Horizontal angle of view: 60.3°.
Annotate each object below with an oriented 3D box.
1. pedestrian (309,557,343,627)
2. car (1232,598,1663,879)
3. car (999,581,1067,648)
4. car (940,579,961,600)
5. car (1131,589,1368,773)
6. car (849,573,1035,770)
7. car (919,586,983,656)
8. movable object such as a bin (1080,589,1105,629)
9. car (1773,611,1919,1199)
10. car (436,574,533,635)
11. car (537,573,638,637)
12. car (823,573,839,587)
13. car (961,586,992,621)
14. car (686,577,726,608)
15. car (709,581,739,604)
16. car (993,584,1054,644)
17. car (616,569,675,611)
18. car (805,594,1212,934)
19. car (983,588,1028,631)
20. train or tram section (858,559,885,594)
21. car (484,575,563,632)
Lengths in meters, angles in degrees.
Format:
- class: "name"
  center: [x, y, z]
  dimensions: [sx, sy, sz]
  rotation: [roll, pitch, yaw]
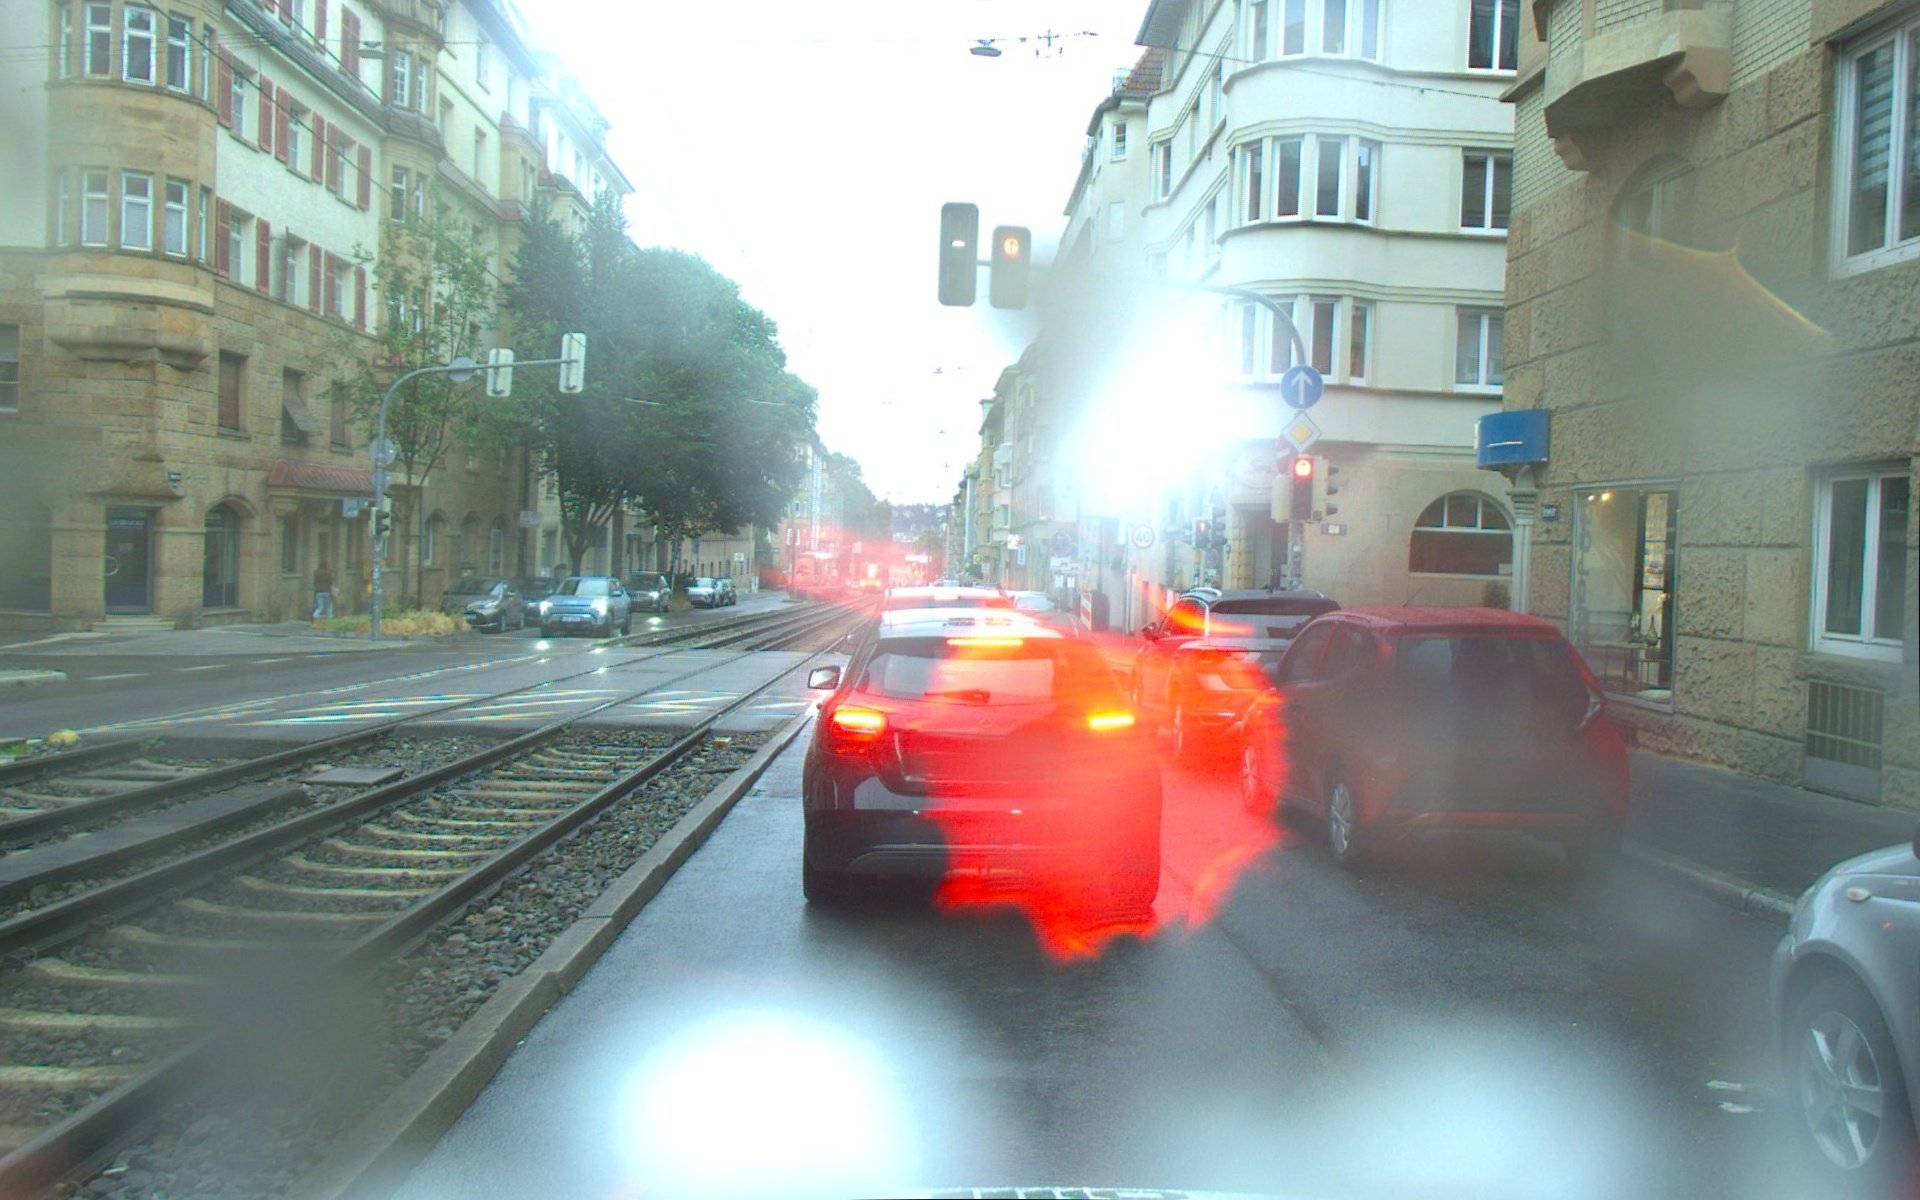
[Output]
- class: "pedestrian"
  center: [-15.660, -0.202, 40.856]
  dimensions: [0.619, 1.702, 0.701]
  rotation: [1, -1, -8]
- class: "car"
  center: [2.902, 0.746, 10.553]
  dimensions: [1.609, 1.473, 3.297]
  rotation: [1, 0, -3]
- class: "car"
  center: [1.837, 0.353, 42.658]
  dimensions: [1.513, 1.618, 3.547]
  rotation: [1, 0, -1]
- class: "car"
  center: [-0.893, -0.992, 154.328]
  dimensions: [1.953, 1.909, 3.999]
  rotation: [1, 0, -1]
- class: "car"
  center: [2.627, 0.675, 15.788]
  dimensions: [1.513, 1.512, 3.829]
  rotation: [1, 0, -1]
- class: "car"
  center: [-0.180, 0.614, 15.827]
  dimensions: [1.533, 1.637, 3.813]
  rotation: [1, 0, -1]
- class: "car"
  center: [-0.228, 0.501, 41.980]
  dimensions: [1.513, 1.664, 3.685]
  rotation: [1, 0, 0]
- class: "movable object such as a bin"
  center: [4.763, 0.310, 59.635]
  dimensions: [0.859, 1.413, 0.983]
  rotation: [1, -1, 3]
- class: "car"
  center: [3.119, 0.784, 3.093]
  dimensions: [1.581, 1.493, 3.312]
  rotation: [0, 0, 0]
- class: "car"
  center: [-13.013, 0.124, 45.489]
  dimensions: [1.718, 1.579, 4.032]
  rotation: [1, 0, -4]
- class: "car"
  center: [-10.049, 0.142, 44.920]
  dimensions: [1.860, 1.615, 3.972]
  rotation: [1, 0, -1]
- class: "car"
  center: [-12.187, -1.860, 156.522]
  dimensions: [1.349, 1.271, 3.296]
  rotation: [1, 0, -2]
- class: "car"
  center: [0.724, 0.141, 73.599]
  dimensions: [1.268, 1.467, 2.928]
  rotation: [1, 0, -1]
- class: "car"
  center: [-13.655, -0.377, 88.960]
  dimensions: [1.557, 1.608, 3.917]
  rotation: [1, 0, -1]
- class: "car"
  center: [-14.022, -0.431, 98.364]
  dimensions: [1.419, 1.354, 3.270]
  rotation: [1, 0, -3]
- class: "car"
  center: [1.767, 0.381, 47.132]
  dimensions: [1.513, 1.618, 3.547]
  rotation: [1, 0, -1]
- class: "car"
  center: [-13.561, -0.410, 71.498]
  dimensions: [1.837, 1.767, 3.917]
  rotation: [1, 0, -1]
- class: "car"
  center: [0.187, 0.728, 9.444]
  dimensions: [1.792, 1.483, 4.103]
  rotation: [1, 0, -1]
- class: "car"
  center: [1.663, 0.333, 61.541]
  dimensions: [1.513, 1.512, 3.547]
  rotation: [1, 0, -1]
- class: "train or tram section"
  center: [-10.308, -2.680, 192.927]
  dimensions: [2.726, 3.928, 10.427]
  rotation: [1, 0, -1]
- class: "car"
  center: [-13.277, 0.107, 50.515]
  dimensions: [1.683, 1.639, 3.914]
  rotation: [1, 0, -5]
